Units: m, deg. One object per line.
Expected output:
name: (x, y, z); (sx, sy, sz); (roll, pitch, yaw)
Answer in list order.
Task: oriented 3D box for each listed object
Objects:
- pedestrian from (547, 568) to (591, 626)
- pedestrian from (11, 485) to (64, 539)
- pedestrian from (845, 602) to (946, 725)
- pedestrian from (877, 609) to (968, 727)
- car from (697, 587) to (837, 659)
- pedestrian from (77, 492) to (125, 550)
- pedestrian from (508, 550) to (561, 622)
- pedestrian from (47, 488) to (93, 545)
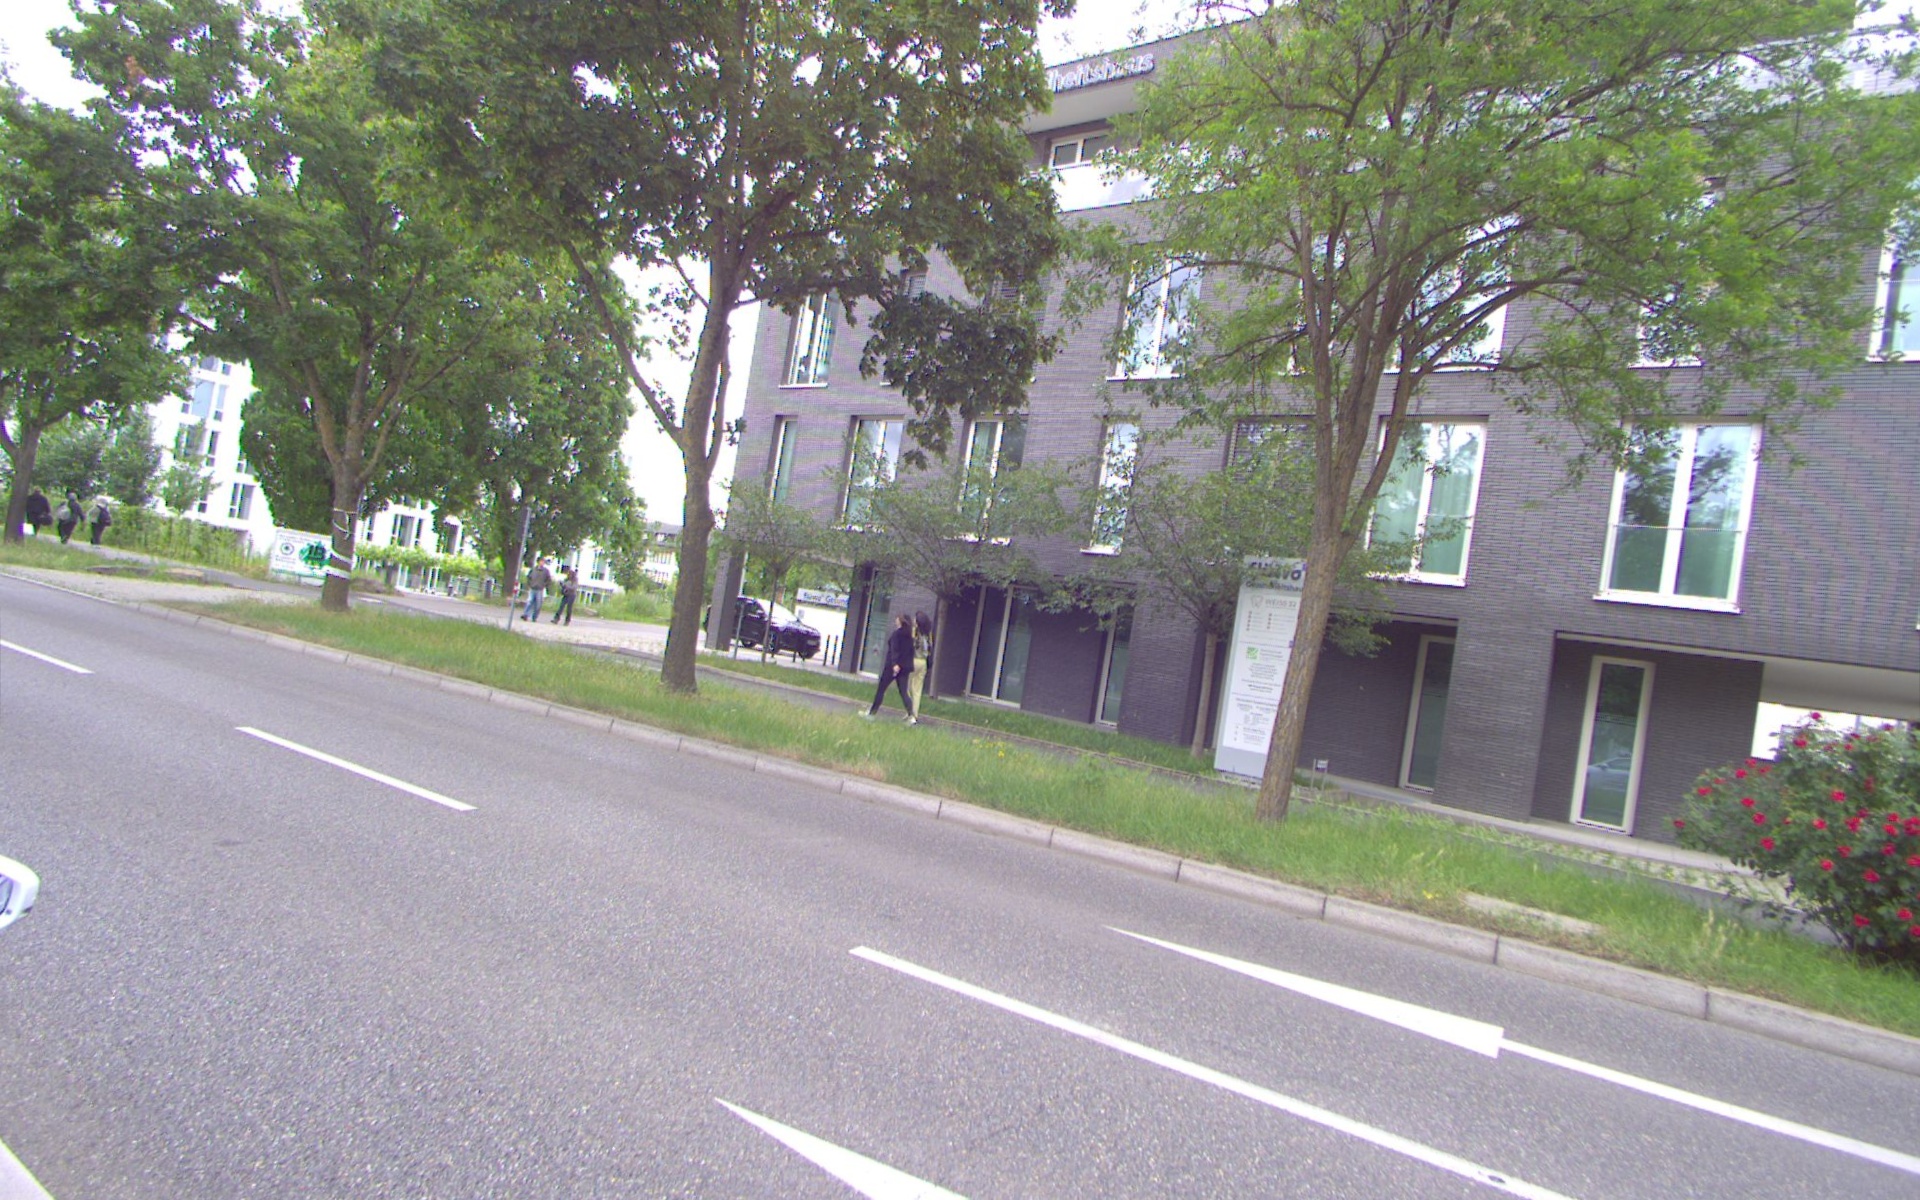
pedestrian: (-11.429, -0.082, 29.461); (0.821, 1.575, 0.875); (8, -1, -8)
pedestrian: (-28.159, -2.681, 30.705); (1.093, 1.465, 0.791); (6, -1, 31)
pedestrian: (-0.970, 0.950, 15.063); (1.043, 1.679, 0.796); (7, -1, 38)
pedestrian: (-0.585, 1.059, 15.727); (0.937, 1.679, 0.779); (7, -1, 38)
car: (-6.102, 0.715, 31.683); (4.080, 1.665, 1.759); (7, -2, 32)
pedestrian: (-27.373, -2.523, 32.071); (0.868, 1.705, 0.768); (6, -1, 31)
pedestrian: (-12.244, -0.383, 28.977); (0.946, 1.889, 0.978); (8, -1, -8)
pedestrian: (-27.716, -2.598, 31.339); (0.868, 1.614, 0.701); (6, -1, 31)
